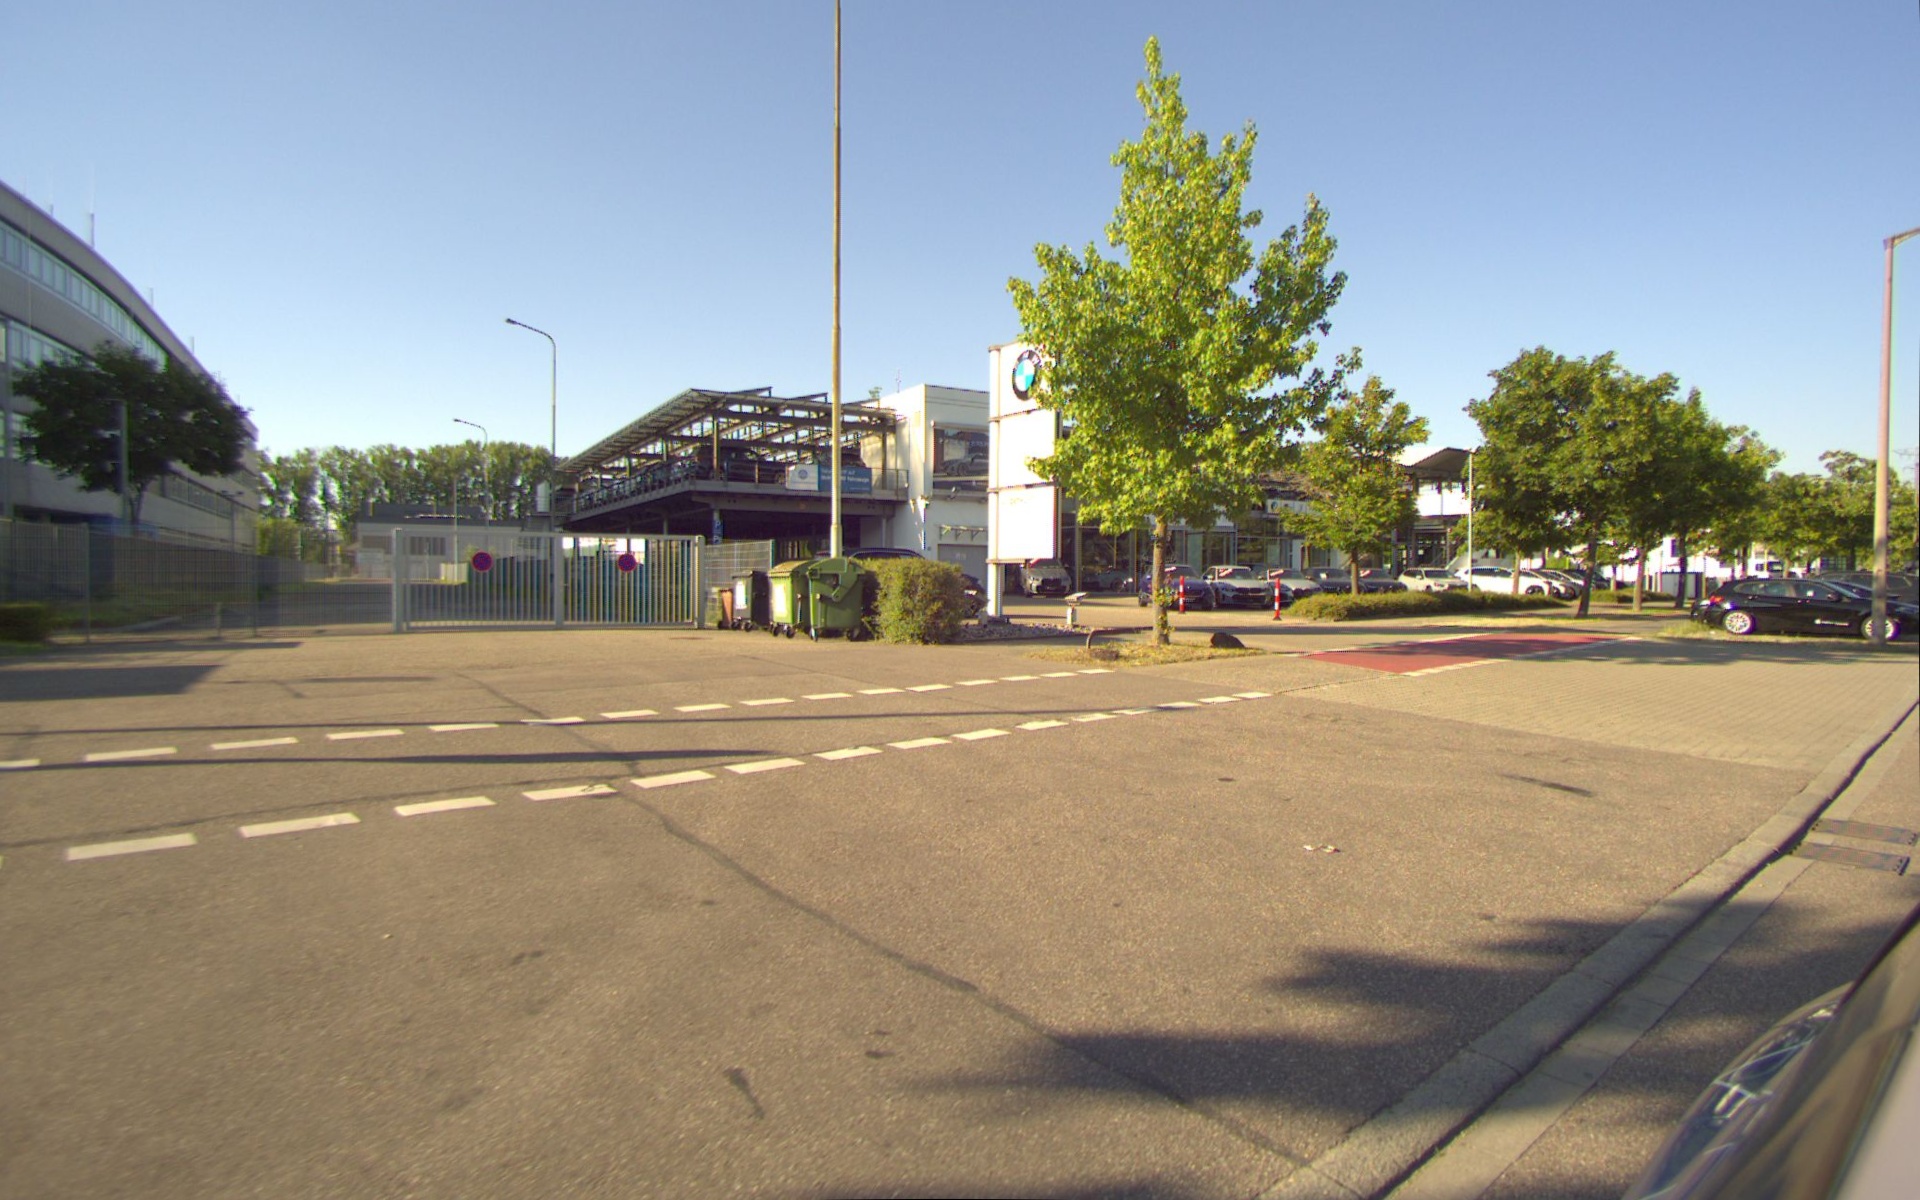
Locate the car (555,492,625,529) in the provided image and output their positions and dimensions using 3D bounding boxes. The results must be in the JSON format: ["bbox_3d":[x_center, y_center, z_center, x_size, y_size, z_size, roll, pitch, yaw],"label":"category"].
[{"bbox_3d":[-25.114,-6.040,68.762,4.119,2.128,2.000,0,-1,-33],"label":"car"}]

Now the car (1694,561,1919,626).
[{"bbox_3d":[22.424,-0.218,26.829,1.999,1.570,4.487,0,2,-43],"label":"car"}]

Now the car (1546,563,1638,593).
[{"bbox_3d":[39.989,-1.415,64.179,4.548,1.687,1.988,3,2,20],"label":"car"}]

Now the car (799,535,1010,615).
[{"bbox_3d":[-1.364,-0.609,25.381,4.875,1.850,2.041,0,1,-29],"label":"car"}]

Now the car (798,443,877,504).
[{"bbox_3d":[-5.644,-5.707,46.106,1.961,2.128,4.203,0,-1,-32],"label":"car"}]

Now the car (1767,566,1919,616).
[{"bbox_3d":[30.565,-0.329,34.382,1.968,1.497,4.699,-1,3,-45],"label":"car"}]

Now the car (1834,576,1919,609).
[{"bbox_3d":[48.387,-0.398,52.494,4.589,1.604,1.969,2,2,43],"label":"car"}]

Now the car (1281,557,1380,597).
[{"bbox_3d":[14.782,-0.939,40.706,1.960,1.482,4.795,1,2,-4],"label":"car"}]

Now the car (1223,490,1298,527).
[{"bbox_3d":[17.339,-5.268,58.496,1.752,1.688,4.002,0,-1,-31],"label":"car"}]

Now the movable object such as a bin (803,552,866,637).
[{"bbox_3d":[-2.213,-0.092,17.725,1.016,1.434,0.850,0,-1,-12],"label":"movable object such as a bin"}]

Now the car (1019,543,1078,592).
[{"bbox_3d":[3.820,-1.411,44.379,1.960,2.038,4.187,1,1,-4],"label":"car"}]

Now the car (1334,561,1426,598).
[{"bbox_3d":[17.834,-0.910,43.253,1.962,1.482,4.790,1,2,1],"label":"car"}]

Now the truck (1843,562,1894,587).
[{"bbox_3d":[104.226,-2.929,116.087,5.851,2.754,2.550,0,1,-28],"label":"truck"}]

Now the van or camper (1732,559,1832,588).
[{"bbox_3d":[87.451,-2.838,107.883,2.881,2.936,8.030,0,2,-14],"label":"van or camper"}]

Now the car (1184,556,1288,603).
[{"bbox_3d":[9.541,-0.741,35.393,2.006,1.482,4.795,2,2,-4],"label":"car"}]

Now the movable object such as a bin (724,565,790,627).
[{"bbox_3d":[-4.395,-0.101,21.919,1.019,1.283,1.120,0,1,-38],"label":"movable object such as a bin"}]

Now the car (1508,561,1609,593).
[{"bbox_3d":[33.787,-1.315,57.297,4.546,1.593,1.988,2,2,19],"label":"car"}]

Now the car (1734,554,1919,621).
[{"bbox_3d":[25.193,-0.379,28.776,2.153,1.773,4.705,0,2,-40],"label":"car"}]

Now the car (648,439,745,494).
[{"bbox_3d":[-12.730,-6.402,48.949,4.119,2.128,2.000,0,-1,-33],"label":"car"}]

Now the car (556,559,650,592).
[{"bbox_3d":[-19.342,-1.326,54.895,4.472,1.694,2.039,0,2,-34],"label":"car"}]

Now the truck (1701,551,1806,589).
[{"bbox_3d":[78.664,-2.953,100.560,3.051,3.565,8.269,1,2,-9],"label":"truck"}]

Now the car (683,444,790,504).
[{"bbox_3d":[-9.696,-5.421,43.991,4.119,2.128,2.000,0,-1,-33],"label":"car"}]

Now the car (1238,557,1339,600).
[{"bbox_3d":[12.196,-0.835,37.951,1.960,1.482,4.795,1,2,-4],"label":"car"}]

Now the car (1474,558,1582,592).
[{"bbox_3d":[29.531,-1.318,52.820,4.546,1.593,1.988,2,2,19],"label":"car"}]

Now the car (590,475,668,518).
[{"bbox_3d":[-19.906,-6.187,60.852,4.119,2.128,2.000,0,-1,-33],"label":"car"}]

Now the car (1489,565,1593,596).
[{"bbox_3d":[31.446,-1.057,54.908,4.546,1.593,1.988,1,1,19],"label":"car"}]

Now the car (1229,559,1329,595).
[{"bbox_3d":[16.938,-1.254,53.741,4.749,1.796,1.980,2,2,30],"label":"car"}]

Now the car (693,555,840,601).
[{"bbox_3d":[-6.515,-0.741,34.153,4.468,1.450,2.041,0,2,-29],"label":"car"}]

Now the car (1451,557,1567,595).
[{"bbox_3d":[27.494,-1.251,50.902,4.669,1.711,2.397,2,2,19],"label":"car"}]

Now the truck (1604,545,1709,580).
[{"bbox_3d":[76.085,-4.089,110.896,3.227,3.689,10.139,1,2,-10],"label":"truck"}]

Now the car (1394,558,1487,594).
[{"bbox_3d":[22.857,-1.165,48.400,1.962,1.591,5.192,1,2,1],"label":"car"}]

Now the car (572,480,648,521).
[{"bbox_3d":[-21.764,-6.143,62.997,4.119,2.128,2.000,0,-1,-33],"label":"car"}]

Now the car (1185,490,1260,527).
[{"bbox_3d":[14.910,-5.176,57.615,1.752,1.688,4.002,0,-1,-31],"label":"car"}]

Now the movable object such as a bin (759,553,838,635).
[{"bbox_3d":[-3.078,-0.127,19.251,1.019,1.502,1.214,0,1,-37],"label":"movable object such as a bin"}]

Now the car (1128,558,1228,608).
[{"bbox_3d":[7.022,-0.593,33.139,1.960,1.482,4.795,1,2,-4],"label":"car"}]

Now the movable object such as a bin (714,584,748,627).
[{"bbox_3d":[-5.148,0.111,22.722,0.593,0.933,0.507,0,1,-34],"label":"movable object such as a bin"}]

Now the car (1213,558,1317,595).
[{"bbox_3d":[15.421,-1.220,51.190,4.749,1.796,1.980,2,2,30],"label":"car"}]

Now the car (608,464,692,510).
[{"bbox_3d":[-17.297,-6.266,56.442,4.119,2.128,2.000,0,-1,-33],"label":"car"}]

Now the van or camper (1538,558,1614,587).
[{"bbox_3d":[74.627,-3.325,122.820,2.363,3.370,8.158,0,2,-18],"label":"van or camper"}]

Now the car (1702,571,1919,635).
[{"bbox_3d":[21.176,0.022,24.882,2.000,1.421,4.484,-1,2,-44],"label":"car"}]
